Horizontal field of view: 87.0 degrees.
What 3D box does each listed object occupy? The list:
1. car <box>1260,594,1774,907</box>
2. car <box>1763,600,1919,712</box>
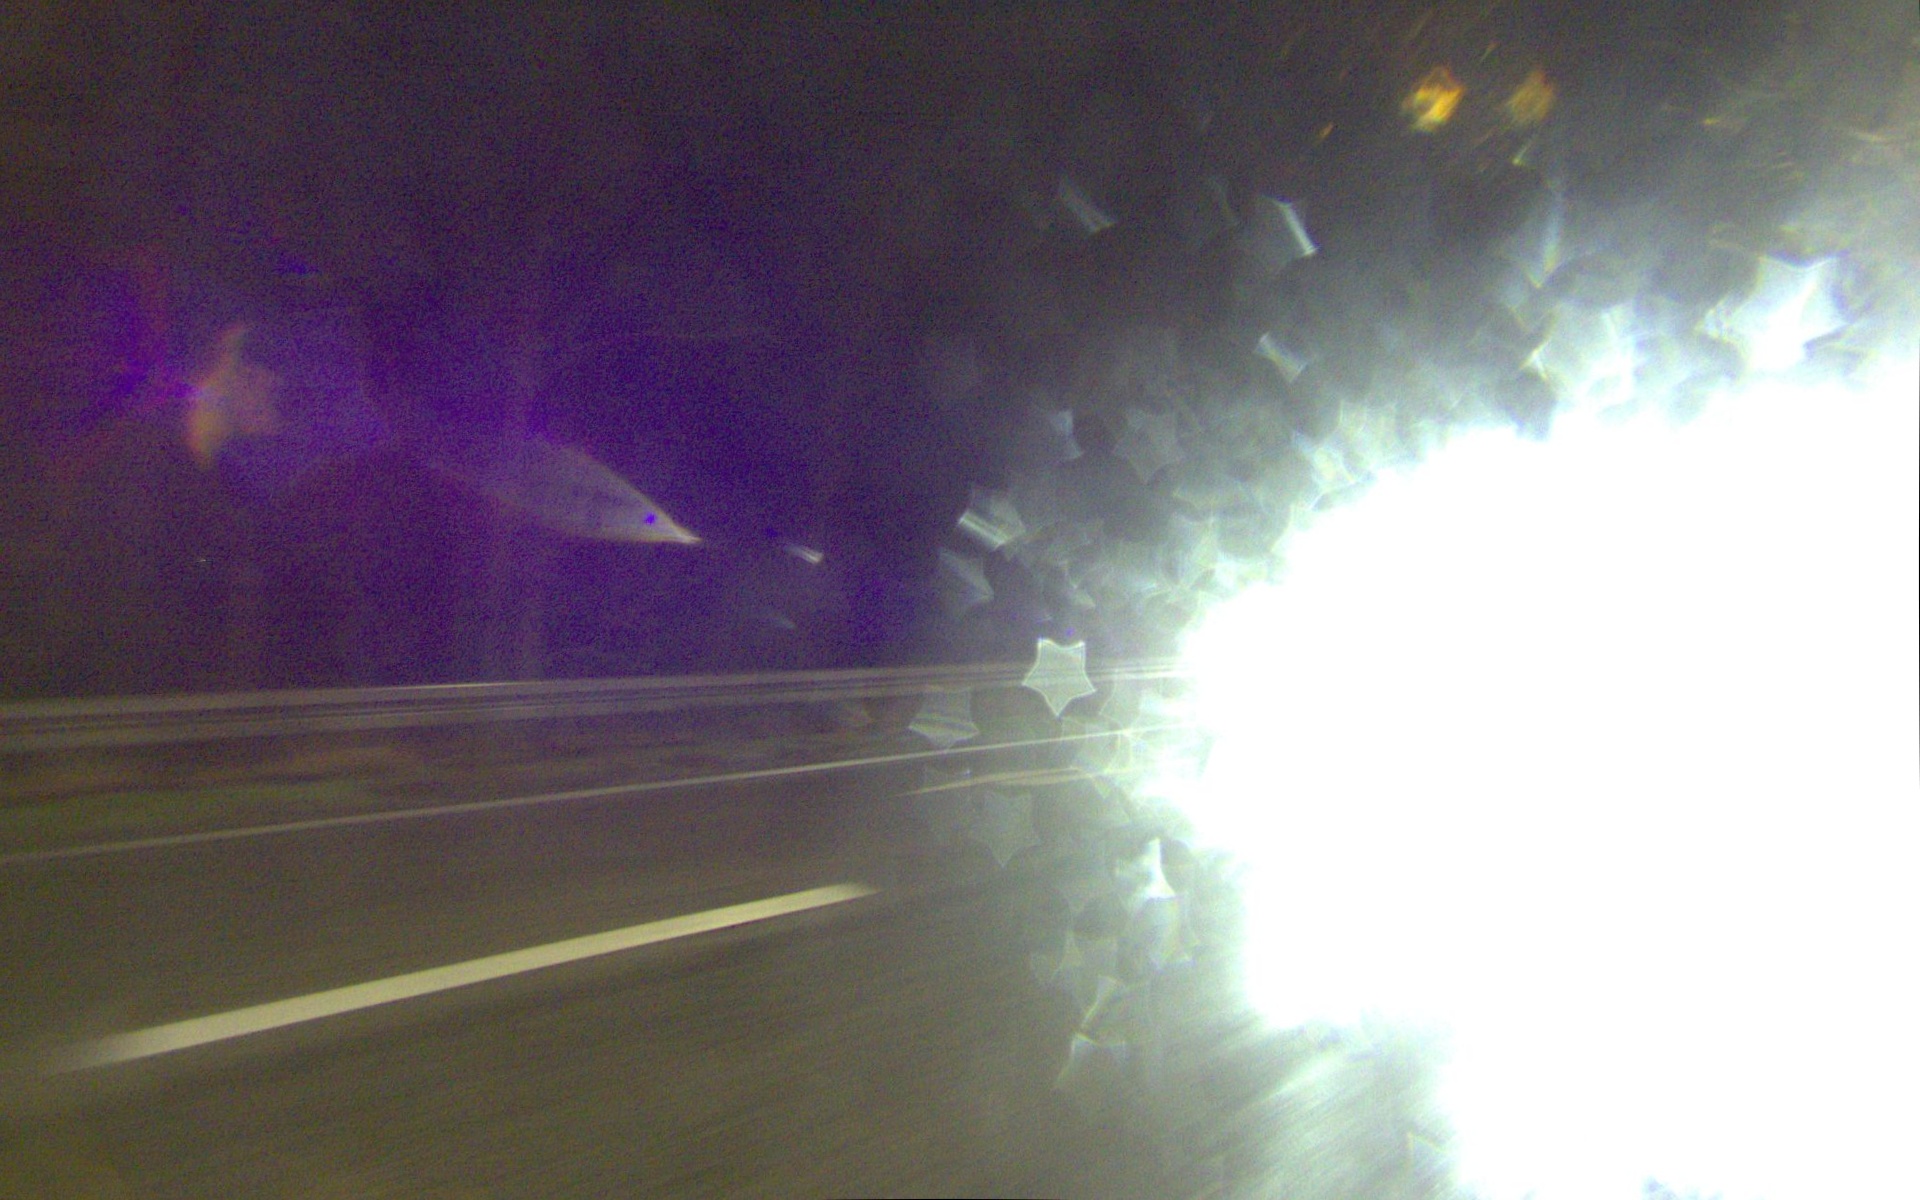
[{"bbox_3d":[4.077,0.715,6.984,4.644,1.467,1.734,0,0,-43],"label":"car"},{"bbox_3d":[14.305,0.774,15.901,4.487,1.503,1.825,0,0,-41],"label":"car"}]
